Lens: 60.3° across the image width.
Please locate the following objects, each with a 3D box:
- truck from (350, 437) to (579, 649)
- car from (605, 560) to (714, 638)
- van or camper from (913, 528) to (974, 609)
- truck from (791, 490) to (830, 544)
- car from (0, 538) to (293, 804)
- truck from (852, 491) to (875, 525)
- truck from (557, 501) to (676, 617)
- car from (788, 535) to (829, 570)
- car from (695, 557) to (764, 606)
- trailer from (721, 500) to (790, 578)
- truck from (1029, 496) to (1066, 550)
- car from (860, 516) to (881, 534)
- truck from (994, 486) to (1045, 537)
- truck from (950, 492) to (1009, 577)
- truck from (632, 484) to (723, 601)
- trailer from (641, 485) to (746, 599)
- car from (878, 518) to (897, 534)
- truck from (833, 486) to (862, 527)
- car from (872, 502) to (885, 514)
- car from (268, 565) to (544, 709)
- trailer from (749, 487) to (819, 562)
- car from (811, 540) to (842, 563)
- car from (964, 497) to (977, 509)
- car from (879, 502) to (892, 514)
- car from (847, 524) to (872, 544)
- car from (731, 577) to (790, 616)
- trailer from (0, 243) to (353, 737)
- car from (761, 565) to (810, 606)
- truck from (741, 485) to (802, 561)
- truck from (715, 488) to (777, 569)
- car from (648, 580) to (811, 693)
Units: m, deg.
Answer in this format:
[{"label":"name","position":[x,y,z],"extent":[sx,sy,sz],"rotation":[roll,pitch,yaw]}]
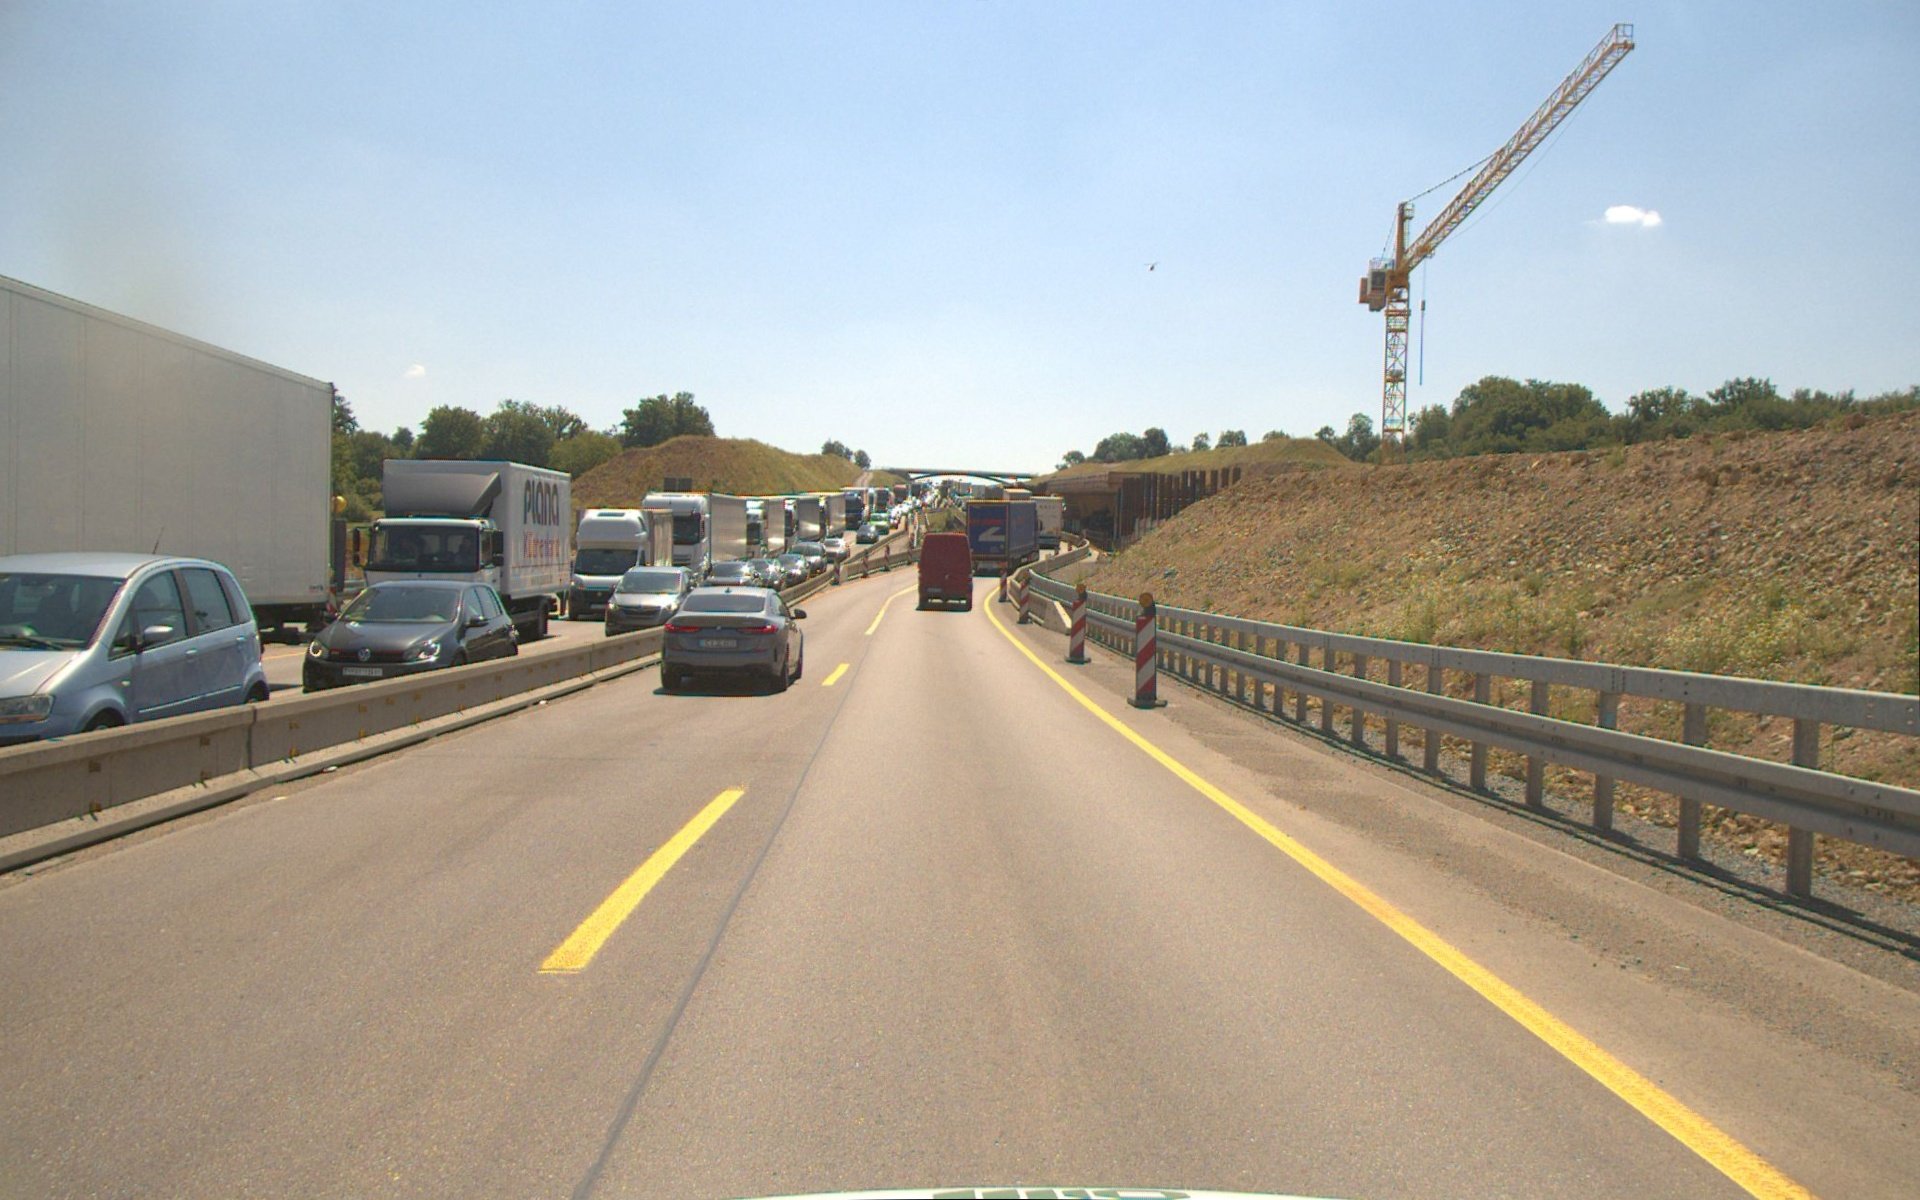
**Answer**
[{"label":"truck","position":[-10.275,-1.140,35.303],"extent":[2.474,3.923,8.668],"rotation":[1,1,-2]},{"label":"car","position":[-6.906,-0.036,38.452],"extent":[1.790,1.680,4.545],"rotation":[1,0,-2]},{"label":"van or camper","position":[-0.636,-1.168,60.222],"extent":[1.989,2.792,4.513],"rotation":[1,1,-3]},{"label":"truck","position":[-11.401,-6.301,126.716],"extent":[2.630,3.906,7.382],"rotation":[1,1,-3]},{"label":"car","position":[-6.474,0.417,11.921],"extent":[1.790,1.601,3.999],"rotation":[1,0,-2]},{"label":"truck","position":[-12.022,-11.398,206.373],"extent":[2.830,3.906,7.998],"rotation":[1,1,-3]},{"label":"truck","position":[-10.169,-1.243,49.560],"extent":[2.385,3.203,7.021],"rotation":[0,2,-3]},{"label":"car","position":[-8.041,-2.508,88.165],"extent":[1.953,1.814,3.999],"rotation":[1,1,-2]},{"label":"car","position":[-7.784,-0.597,56.124],"extent":[1.790,1.562,4.545],"rotation":[1,0,-1]},{"label":"trailer","position":[-11.297,-3.261,92.366],"extent":[2.727,4.000,11.005],"rotation":[1,1,-1]},{"label":"truck","position":[7.306,-6.384,138.012],"extent":[2.974,4.172,7.088],"rotation":[0,0,4]},{"label":"car","position":[-8.566,-7.197,158.618],"extent":[1.913,1.556,4.267],"rotation":[1,1,-1]},{"label":"truck","position":[6.747,-9.797,184.611],"extent":[5.051,5.084,13.885],"rotation":[-1,1,4]},{"label":"truck","position":[1.105,-3.788,96.986],"extent":[2.960,4.774,6.929],"rotation":[-1,1,-3]},{"label":"truck","position":[-10.939,-2.235,64.623],"extent":[2.499,4.304,6.529],"rotation":[1,2,-1]},{"label":"trailer","position":[-11.049,-2.373,69.831],"extent":[2.542,4.331,12.466],"rotation":[1,1,-1]},{"label":"car","position":[-7.722,-7.870,175.651],"extent":[1.913,1.556,4.267],"rotation":[1,1,-1]},{"label":"truck","position":[-11.724,-9.718,172.463],"extent":[2.830,3.906,7.998],"rotation":[1,1,-3]},{"label":"car","position":[-12.180,-13.790,248.242],"extent":[1.913,1.557,4.266],"rotation":[1,0,-2]},{"label":"car","position":[-6.745,0.406,20.663],"extent":[1.953,1.584,4.338],"rotation":[1,0,0]},{"label":"trailer","position":[-11.537,-4.859,109.486],"extent":[2.979,4.631,12.131],"rotation":[1,1,1]},{"label":"car","position":[-8.656,-3.113,107.343],"extent":[1.711,1.433,4.000],"rotation":[1,1,-1]},{"label":"car","position":[1.594,-15.087,256.131],"extent":[1.913,1.669,4.267],"rotation":[1,1,-1]},{"label":"car","position":[-11.514,-14.161,254.645],"extent":[1.913,1.556,4.266],"rotation":[1,1,-2]},{"label":"car","position":[-8.447,-5.522,138.906],"extent":[1.913,1.556,4.267],"rotation":[1,1,-1]},{"label":"car","position":[-7.994,-0.160,66.663],"extent":[1.864,1.400,4.546],"rotation":[-2,2,-1]},{"label":"trailer","position":[-9.836,-0.990,16.176],"extent":[2.925,4.282,13.942],"rotation":[1,0,-1]},{"label":"car","position":[-8.046,-0.644,76.466],"extent":[1.953,1.814,3.998],"rotation":[1,0,-2]},{"label":"truck","position":[-11.733,-4.758,103.279],"extent":[2.989,4.558,5.981],"rotation":[1,1,1]},{"label":"truck","position":[-11.081,-3.660,86.124],"extent":[2.727,3.937,5.458],"rotation":[1,0,-3]},{"label":"car","position":[-3.318,0.480,24.639],"extent":[1.814,1.477,4.741],"rotation":[1,0,-1]}]
